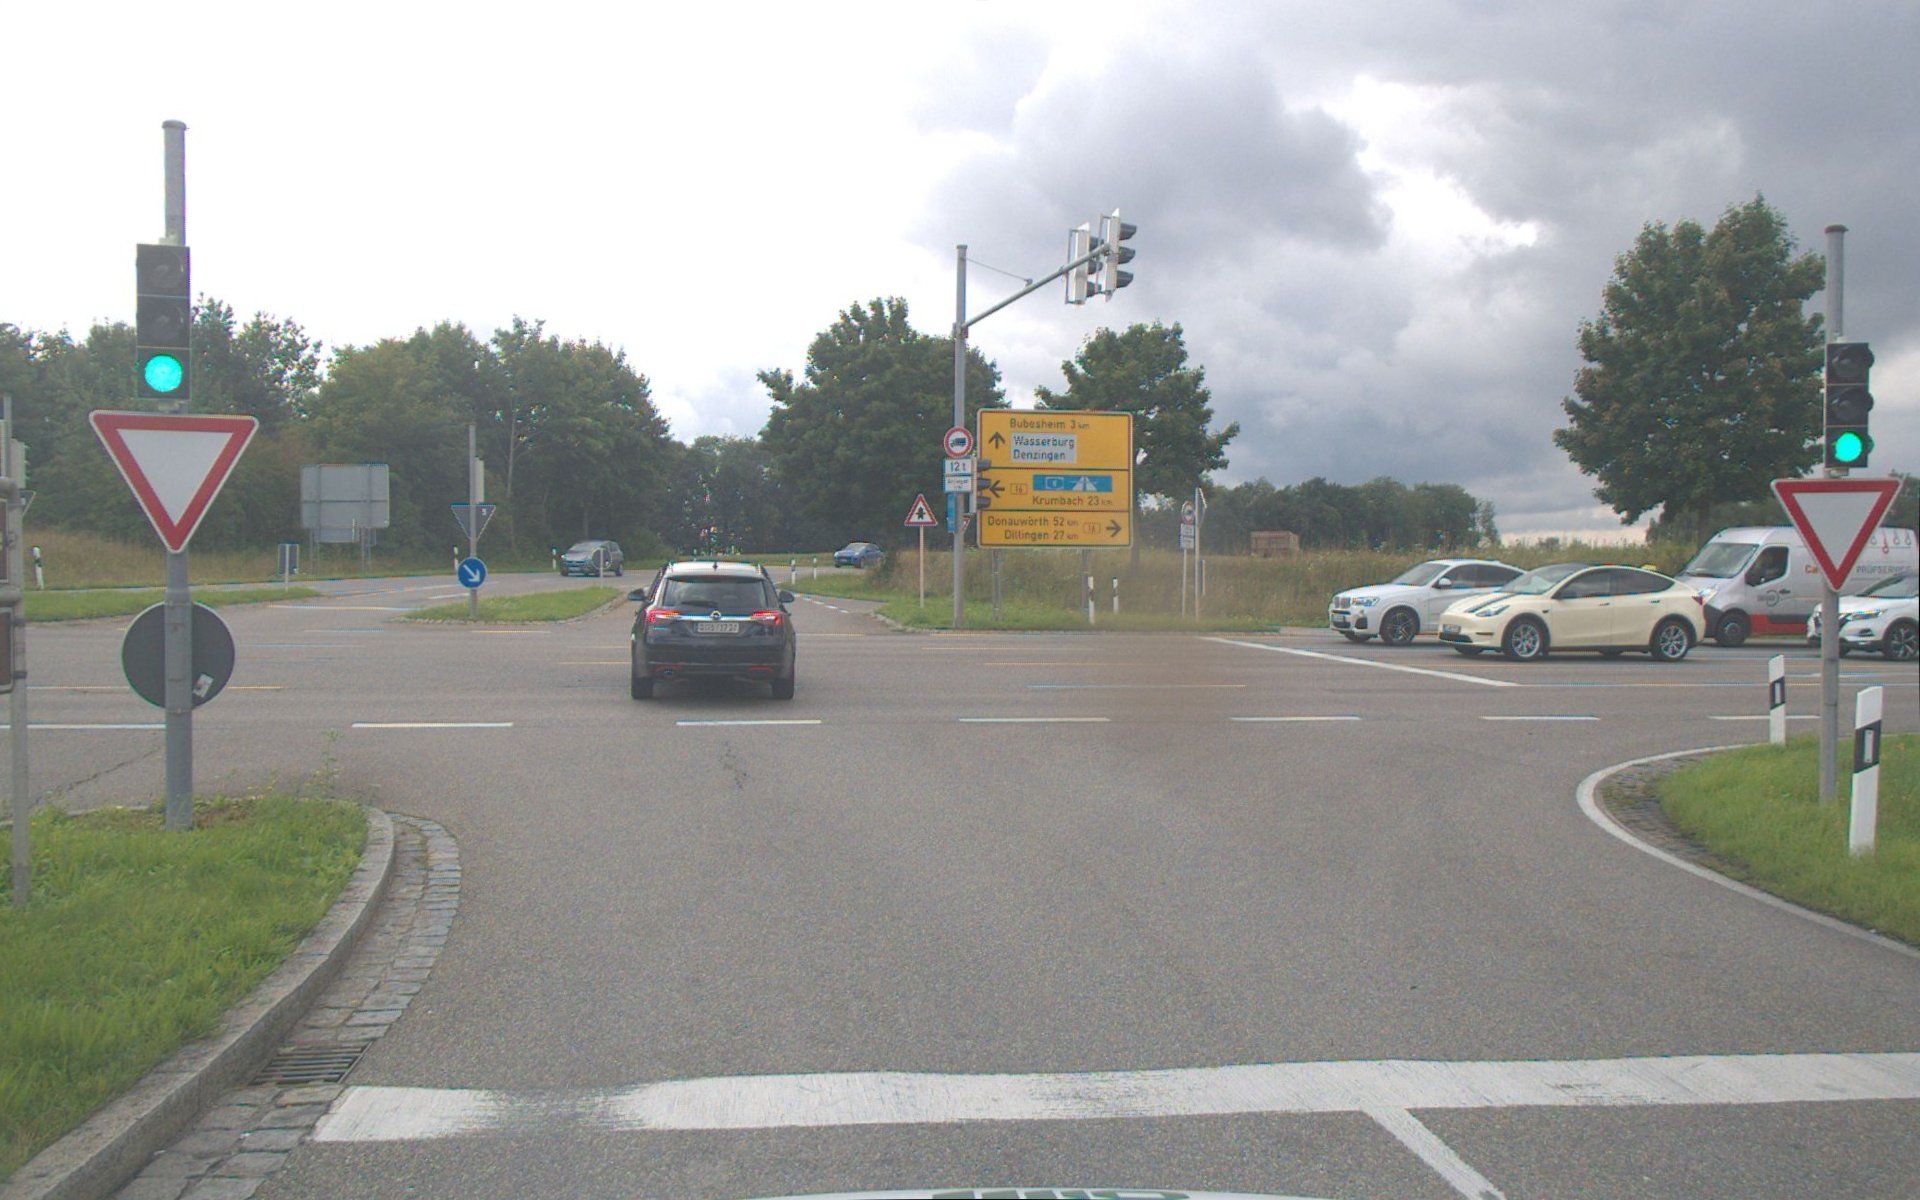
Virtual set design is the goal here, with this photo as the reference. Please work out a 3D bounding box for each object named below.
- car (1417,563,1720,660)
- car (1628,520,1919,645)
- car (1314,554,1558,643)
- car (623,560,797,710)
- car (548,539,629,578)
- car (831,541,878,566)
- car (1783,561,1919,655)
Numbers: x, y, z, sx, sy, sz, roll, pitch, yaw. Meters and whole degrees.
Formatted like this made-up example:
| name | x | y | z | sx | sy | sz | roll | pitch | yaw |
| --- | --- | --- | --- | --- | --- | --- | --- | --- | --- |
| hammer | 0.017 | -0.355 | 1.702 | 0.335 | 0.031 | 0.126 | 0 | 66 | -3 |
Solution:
| name | x | y | z | sx | sy | sz | roll | pitch | yaw |
| --- | --- | --- | --- | --- | --- | --- | --- | --- | --- |
| car | 10.523 | 0.200 | 28.711 | 4.652 | 1.592 | 1.993 | 0 | 0 | -14 |
| car | 17.136 | -0.331 | 34.716 | 5.399 | 2.484 | 2.391 | 0 | 0 | -13 |
| car | 9.293 | -0.023 | 32.433 | 4.188 | 1.657 | 1.993 | 0 | 0 | -14 |
| car | -2.917 | 0.320 | 19.305 | 1.774 | 1.476 | 4.265 | 0 | 2 | -9 |
| car | -15.435 | -1.701 | 68.939 | 1.951 | 1.562 | 4.003 | 1 | 1 | 8 |
| car | -6.840 | -3.027 | 107.985 | 1.951 | 1.598 | 4.761 | 1 | 1 | 10 |
| car | 17.787 | 0.148 | 30.679 | 4.234 | 1.658 | 1.993 | 0 | 0 | -13 |
